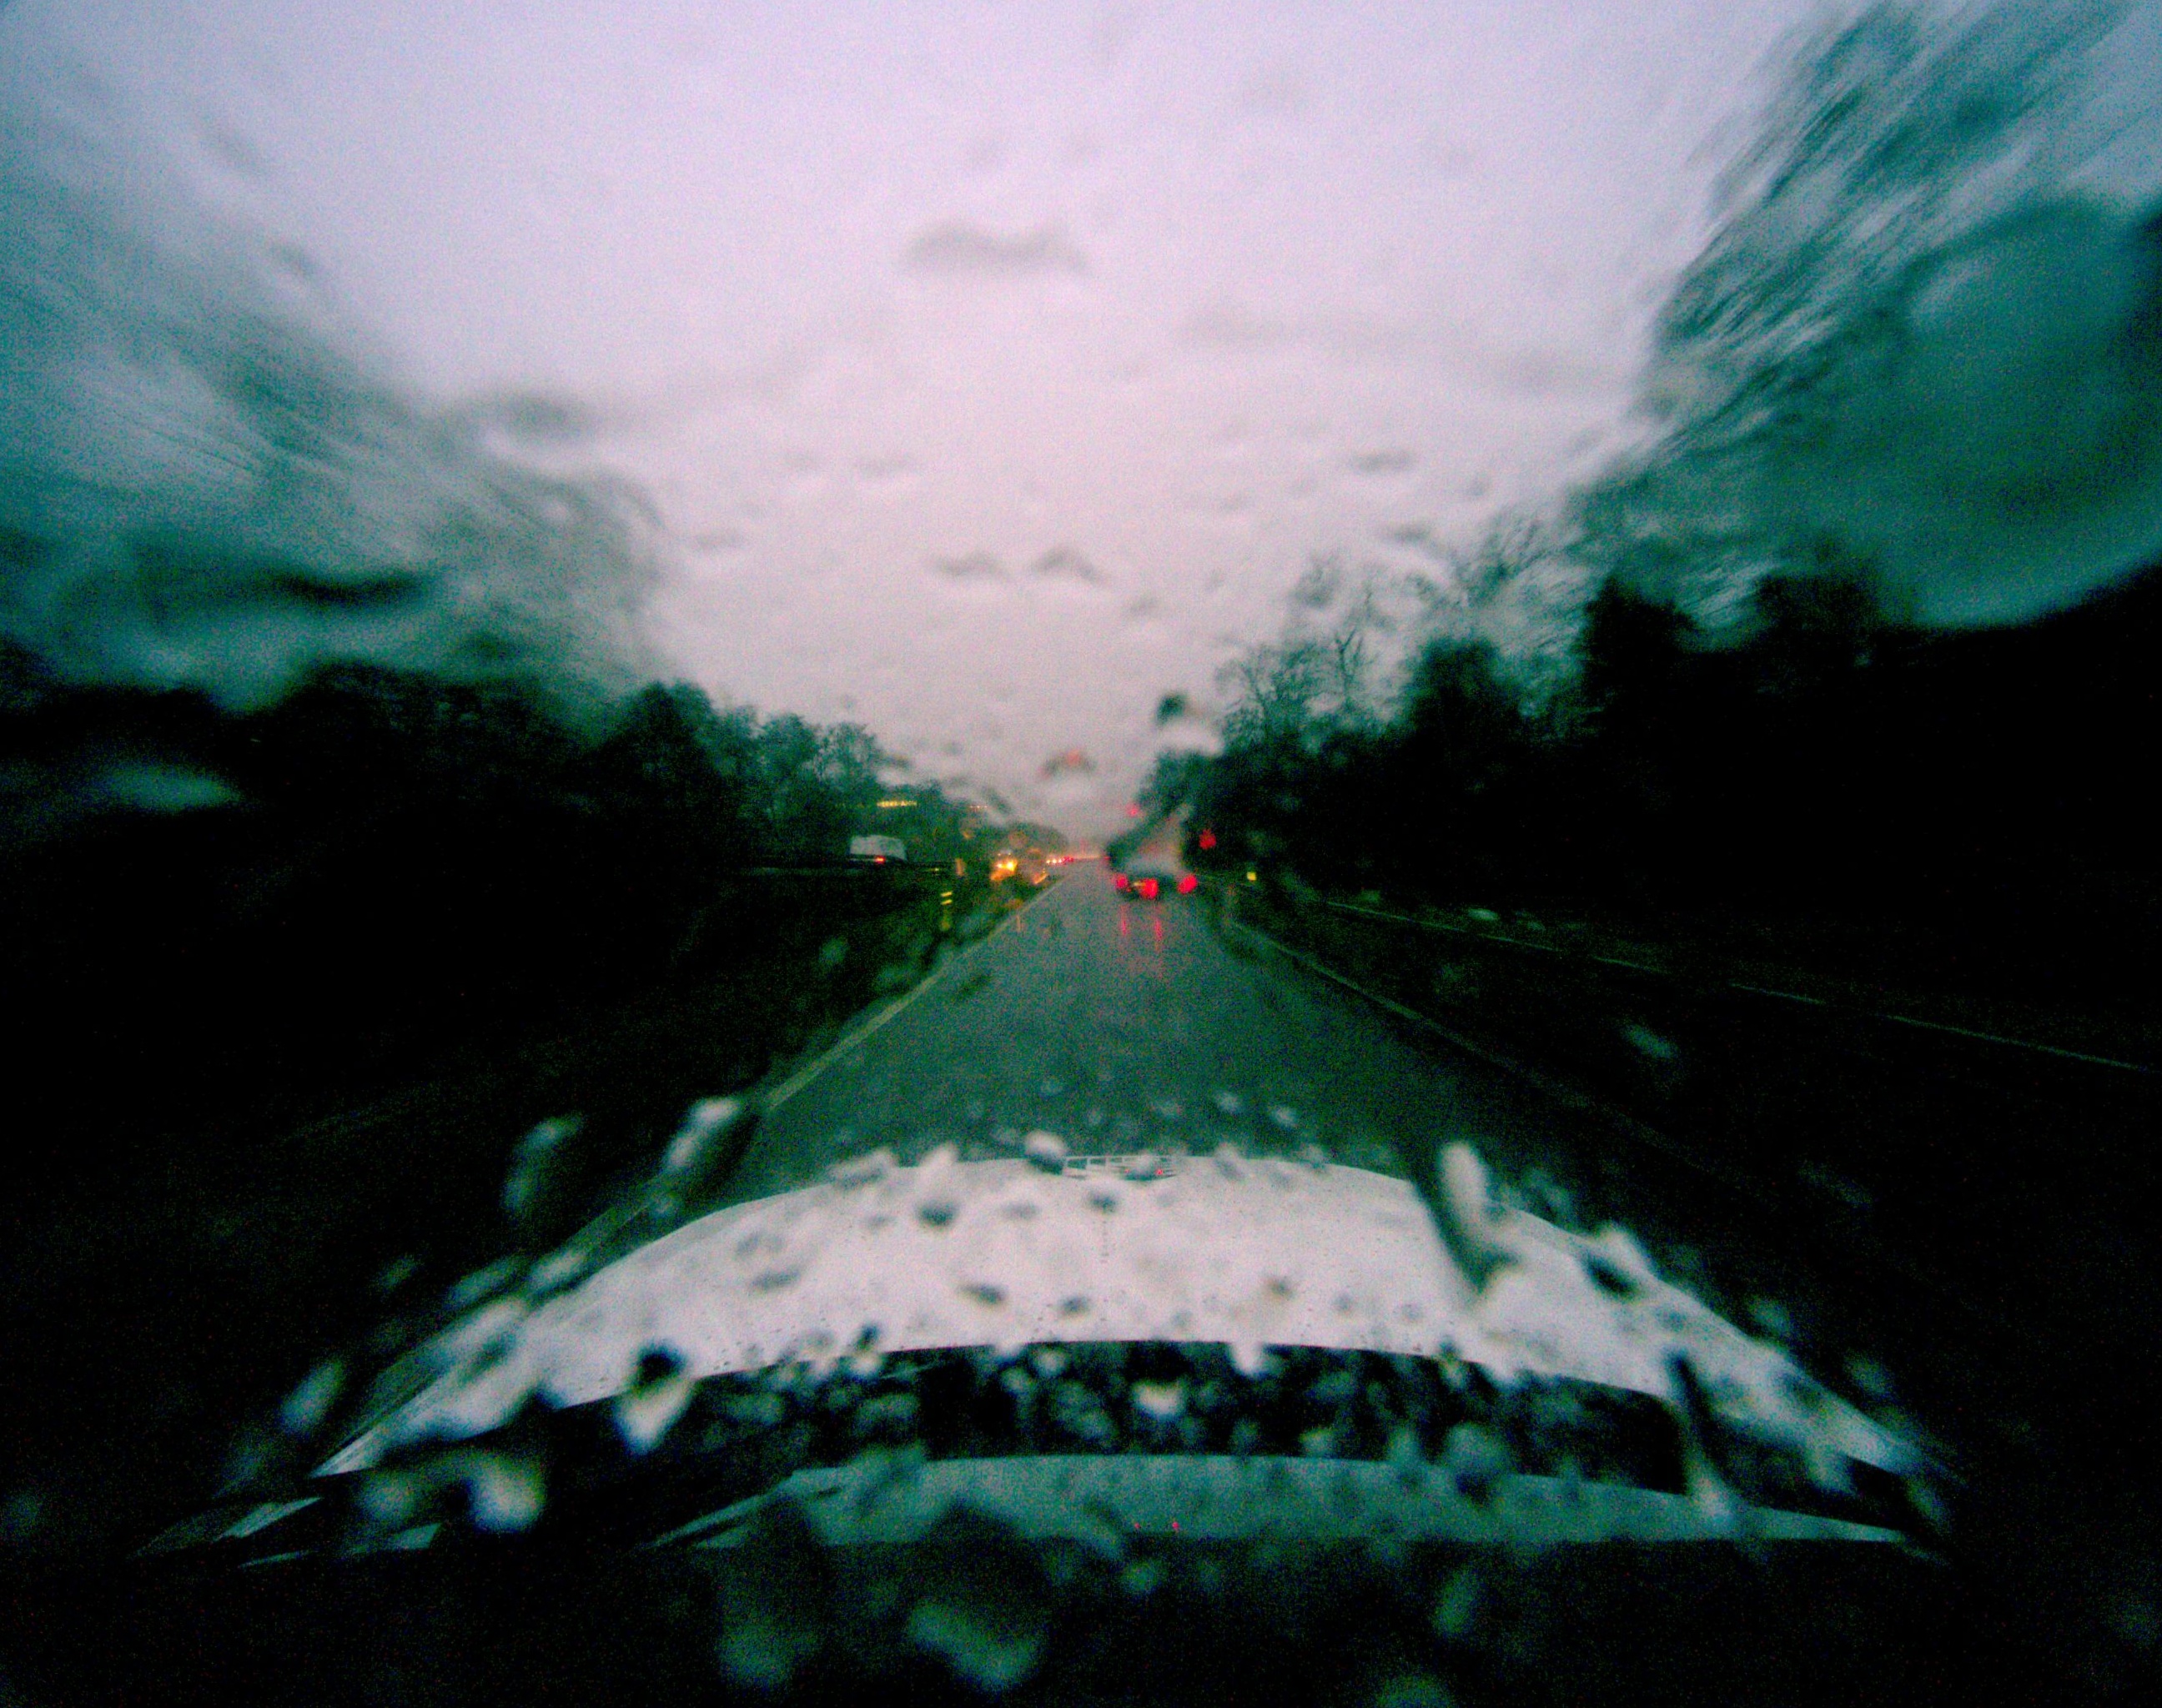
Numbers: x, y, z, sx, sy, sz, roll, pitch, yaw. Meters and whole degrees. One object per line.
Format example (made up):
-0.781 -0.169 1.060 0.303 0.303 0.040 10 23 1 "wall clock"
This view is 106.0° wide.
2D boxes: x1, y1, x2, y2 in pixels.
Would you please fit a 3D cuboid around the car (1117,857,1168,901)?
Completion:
2.265 0.890 30.540 1.725 1.429 3.768 3 0 3 "car"

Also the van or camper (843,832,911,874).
-12.498 -0.035 50.325 2.256 2.413 5.589 -1 0 6 "van or camper"
